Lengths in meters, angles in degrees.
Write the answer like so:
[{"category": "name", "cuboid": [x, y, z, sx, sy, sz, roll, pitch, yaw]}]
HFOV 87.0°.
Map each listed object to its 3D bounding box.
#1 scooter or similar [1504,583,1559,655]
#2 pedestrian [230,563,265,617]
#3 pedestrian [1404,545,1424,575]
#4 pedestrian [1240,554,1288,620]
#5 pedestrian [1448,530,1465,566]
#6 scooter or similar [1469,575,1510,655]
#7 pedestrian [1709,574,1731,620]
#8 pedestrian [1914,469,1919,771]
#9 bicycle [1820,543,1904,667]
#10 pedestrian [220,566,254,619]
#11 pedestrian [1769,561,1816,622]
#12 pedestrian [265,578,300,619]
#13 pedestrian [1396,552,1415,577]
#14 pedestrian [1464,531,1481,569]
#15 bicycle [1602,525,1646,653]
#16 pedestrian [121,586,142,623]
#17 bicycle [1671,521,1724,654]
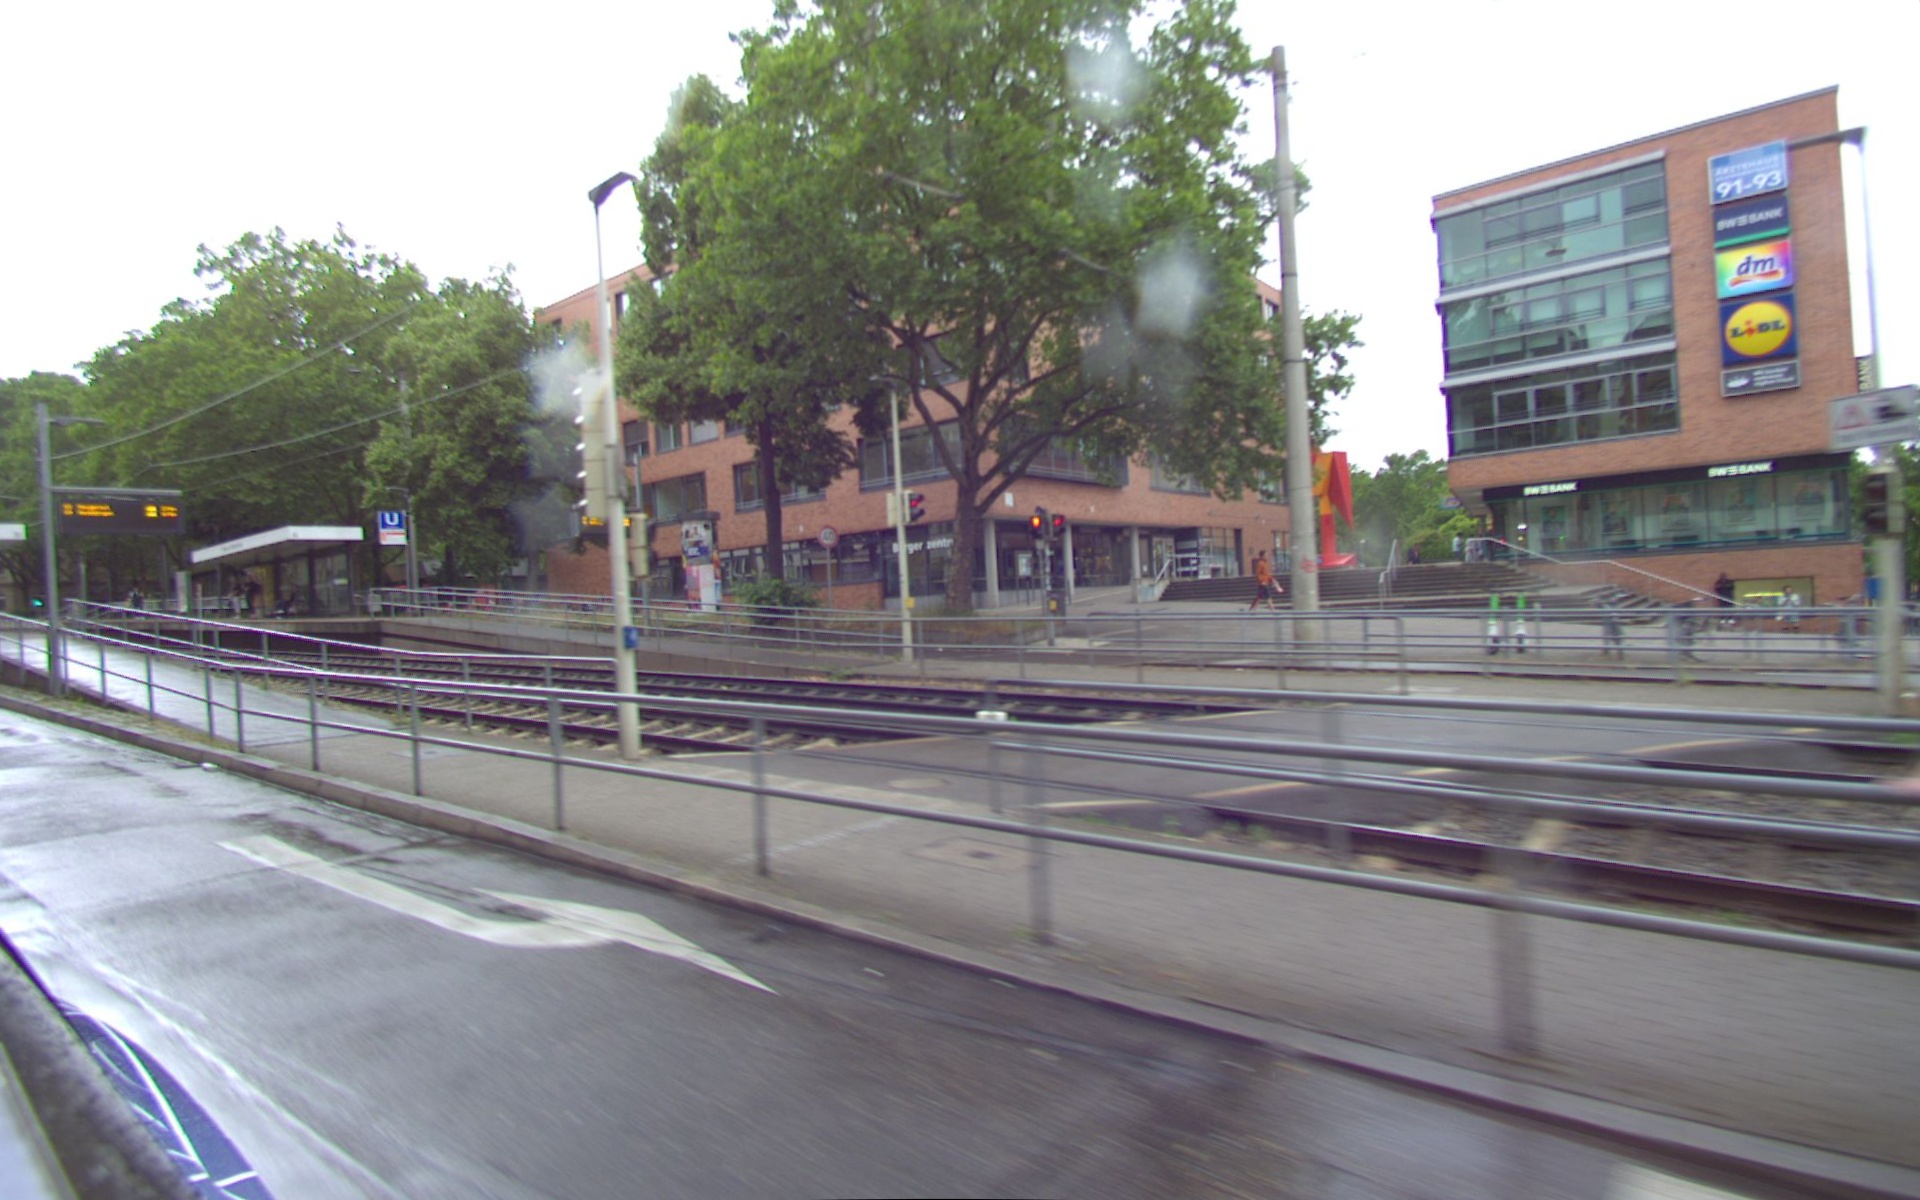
[{"category": "scooter or similar", "cuboid": [10.108, 0.313, 17.932, 0.475, 1.203, 1.709, -1, 0, 17]}, {"category": "pedestrian", "cuboid": [-27.971, -0.403, 39.724, 0.882, 2.078, 0.828, -1, 0, 34]}, {"category": "pedestrian", "cuboid": [24.340, -2.138, 54.296, 0.616, 1.562, 0.718, -1, 0, -15]}, {"category": "pedestrian", "cuboid": [8.548, -0.383, 28.476, 0.779, 1.757, 1.073, -1, 4, -18]}, {"category": "pedestrian", "cuboid": [24.769, -2.577, 50.507, 0.724, 1.743, 0.642, -1, 0, 26]}, {"category": "scooter or similar", "cuboid": [9.616, 0.251, 18.403, 0.450, 1.381, 1.496, -2, 1, 21]}, {"category": "pedestrian", "cuboid": [26.177, -0.097, 34.862, 0.591, 1.578, 0.514, -1, 1, 37]}, {"category": "pedestrian", "cuboid": [3.786, 0.422, 3.195, 0.999, 1.812, 0.818, -1, 0, 36]}, {"category": "bicycle", "cuboid": [13.582, 0.023, 15.285, 0.555, 1.710, 2.075, 0, 4, 31]}, {"category": "pedestrian", "cuboid": [-28.970, -0.286, 40.536, 0.882, 2.078, 0.828, -1, 0, 34]}, {"category": "pedestrian", "cuboid": [24.253, -0.245, 29.511, 1.007, 1.743, 0.888, -1, 0, 38]}, {"category": "pedestrian", "cuboid": [-25.125, -0.046, 37.530, 0.882, 1.494, 0.773, -1, 0, 35]}, {"category": "pedestrian", "cuboid": [27.959, -2.213, 63.539, 0.841, 1.542, 0.731, -1, 0, -26]}, {"category": "pedestrian", "cuboid": [24.532, -2.388, 48.481, 0.646, 1.743, 0.612, -1, 0, 31]}, {"category": "bicycle", "cuboid": [11.113, -0.208, 16.967, 0.517, 2.028, 1.876, -1, 1, 31]}, {"category": "pedestrian", "cuboid": [-41.515, 0.228, 50.710, 0.702, 1.804, 0.668, -1, 0, 39]}, {"category": "bicycle", "cuboid": [11.965, -0.224, 16.452, 0.517, 2.028, 1.876, -1, 1, 31]}]
